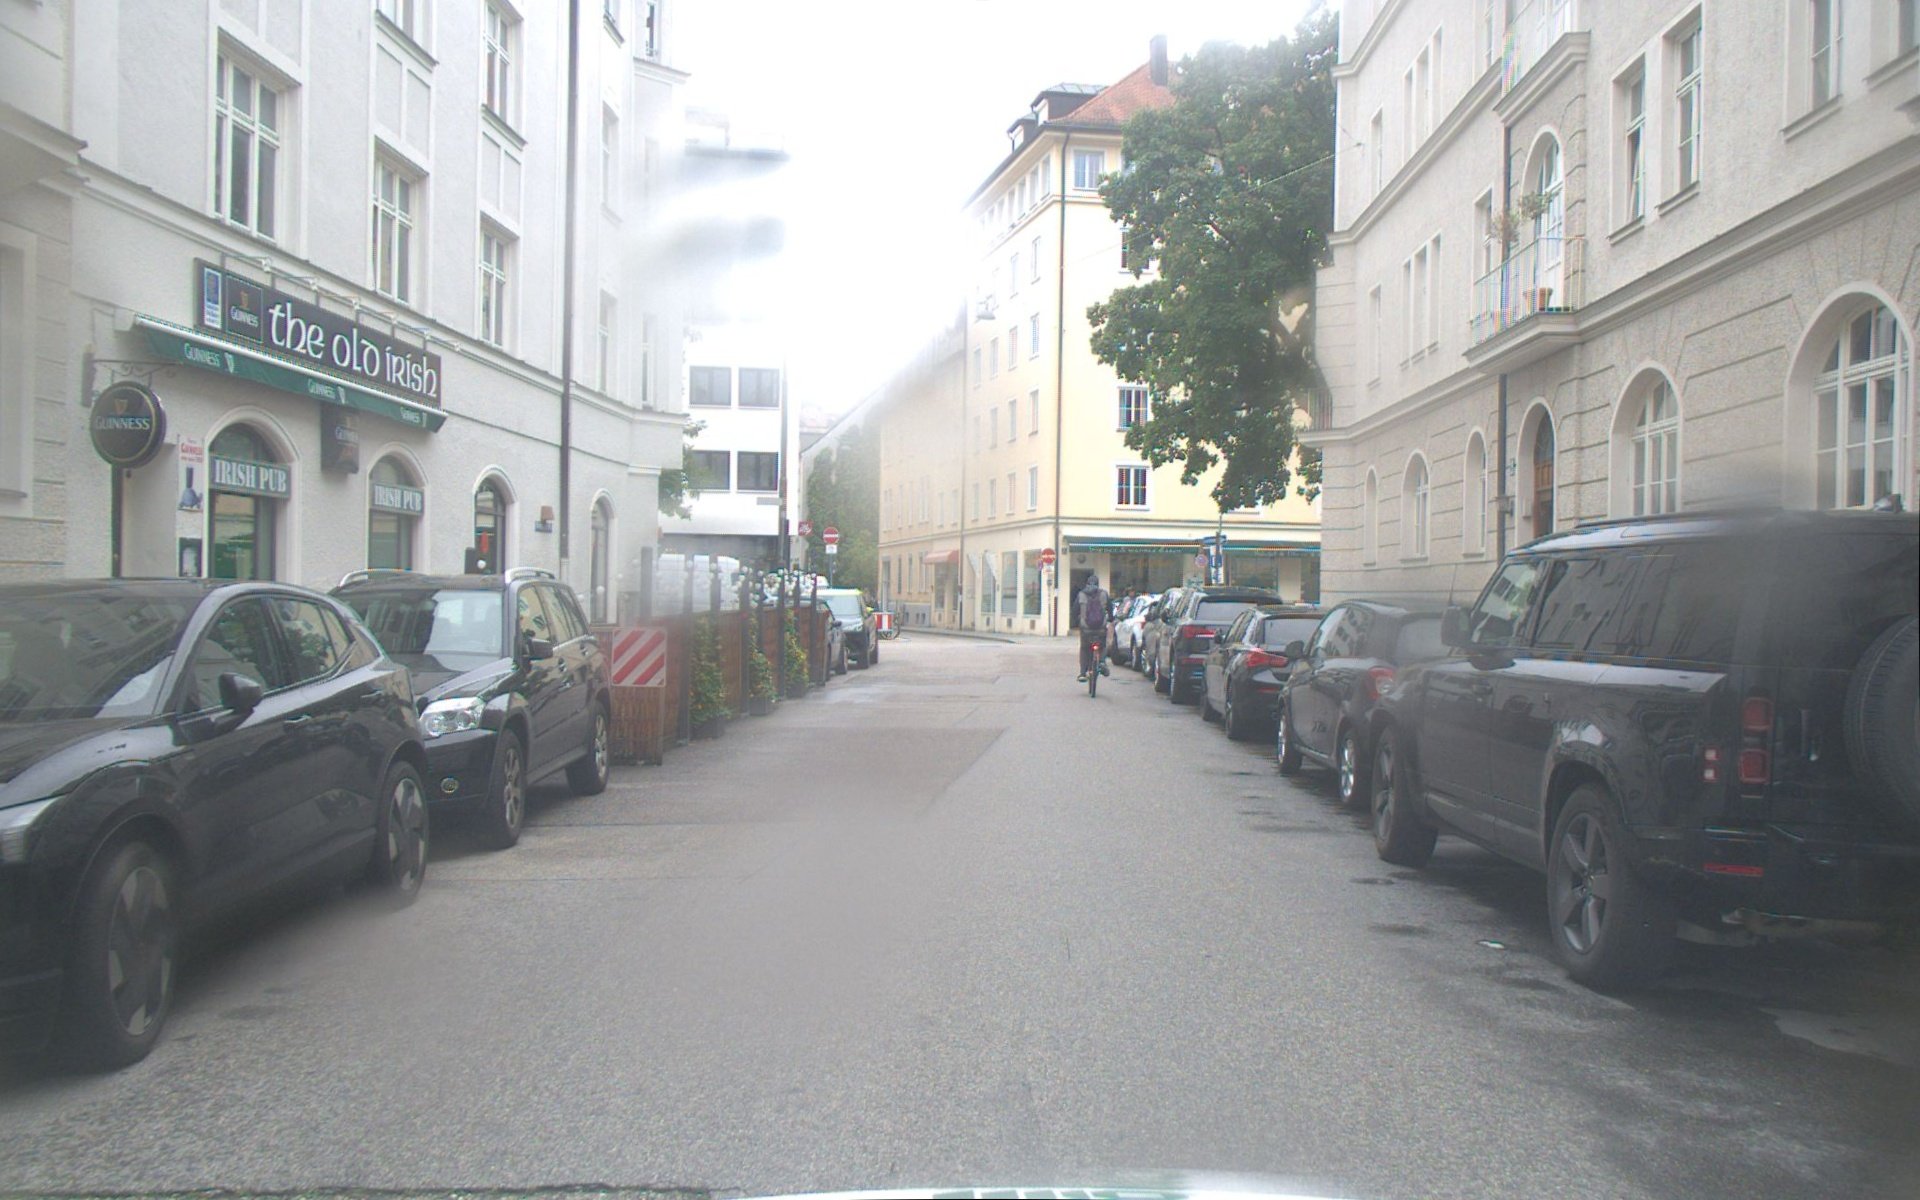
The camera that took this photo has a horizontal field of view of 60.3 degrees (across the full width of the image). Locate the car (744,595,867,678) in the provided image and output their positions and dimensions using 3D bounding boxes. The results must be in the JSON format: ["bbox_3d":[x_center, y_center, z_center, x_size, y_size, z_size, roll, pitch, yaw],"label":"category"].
[{"bbox_3d":[-2.816,0.638,30.891,1.671,1.414,4.002,-1,0,3],"label":"car"}]

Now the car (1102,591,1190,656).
[{"bbox_3d":[4.477,0.529,40.377,1.635,1.460,4.213,1,1,0],"label":"car"}]

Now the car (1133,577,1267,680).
[{"bbox_3d":[4.302,0.470,30.240,1.753,1.743,4.425,0,0,-1],"label":"car"}]

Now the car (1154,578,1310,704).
[{"bbox_3d":[3.955,0.541,24.696,1.740,1.664,4.377,2,1,2],"label":"car"}]

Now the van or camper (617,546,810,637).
[{"bbox_3d":[-7.603,-0.240,51.239,5.794,2.724,1.869,0,-2,-9],"label":"van or camper"}]

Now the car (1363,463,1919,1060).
[{"bbox_3d":[3.458,0.538,7.757,1.872,1.918,4.713,3,0,-1],"label":"car"}]

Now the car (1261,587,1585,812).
[{"bbox_3d":[3.623,0.696,13.583,1.621,1.552,3.637,1,1,0],"label":"car"}]

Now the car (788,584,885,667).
[{"bbox_3d":[-2.570,0.517,35.219,1.642,1.625,3.946,-2,0,1],"label":"car"}]

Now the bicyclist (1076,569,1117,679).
[{"bbox_3d":[2.060,0.347,24.956,0.593,1.634,0.758,0,1,3],"label":"bicyclist"}]

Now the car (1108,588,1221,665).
[{"bbox_3d":[4.279,0.529,35.128,1.715,1.522,3.907,1,0,-3],"label":"car"}]

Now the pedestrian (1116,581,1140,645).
[{"bbox_3d":[4.495,0.342,44.245,0.598,1.690,0.551,0,0,4],"label":"pedestrian"}]

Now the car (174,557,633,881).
[{"bbox_3d":[-3.486,0.626,11.256,1.711,1.702,4.274,-3,1,-2],"label":"car"}]

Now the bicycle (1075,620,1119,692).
[{"bbox_3d":[2.055,0.829,24.874,0.626,1.022,1.575,0,0,3],"label":"bicycle"}]

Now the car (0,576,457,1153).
[{"bbox_3d":[-3.405,0.681,6.387,1.706,1.513,4.180,0,0,-1],"label":"car"}]

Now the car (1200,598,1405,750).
[{"bbox_3d":[3.792,0.745,18.950,1.671,1.496,4.203,0,1,3],"label":"car"}]

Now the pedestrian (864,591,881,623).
[{"bbox_3d":[-4.921,0.403,92.640,0.862,1.809,0.771,0,0,-11],"label":"pedestrian"}]

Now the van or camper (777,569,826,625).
[{"bbox_3d":[-7.602,-0.157,79.015,1.957,2.584,4.748,0,0,-10],"label":"van or camper"}]
